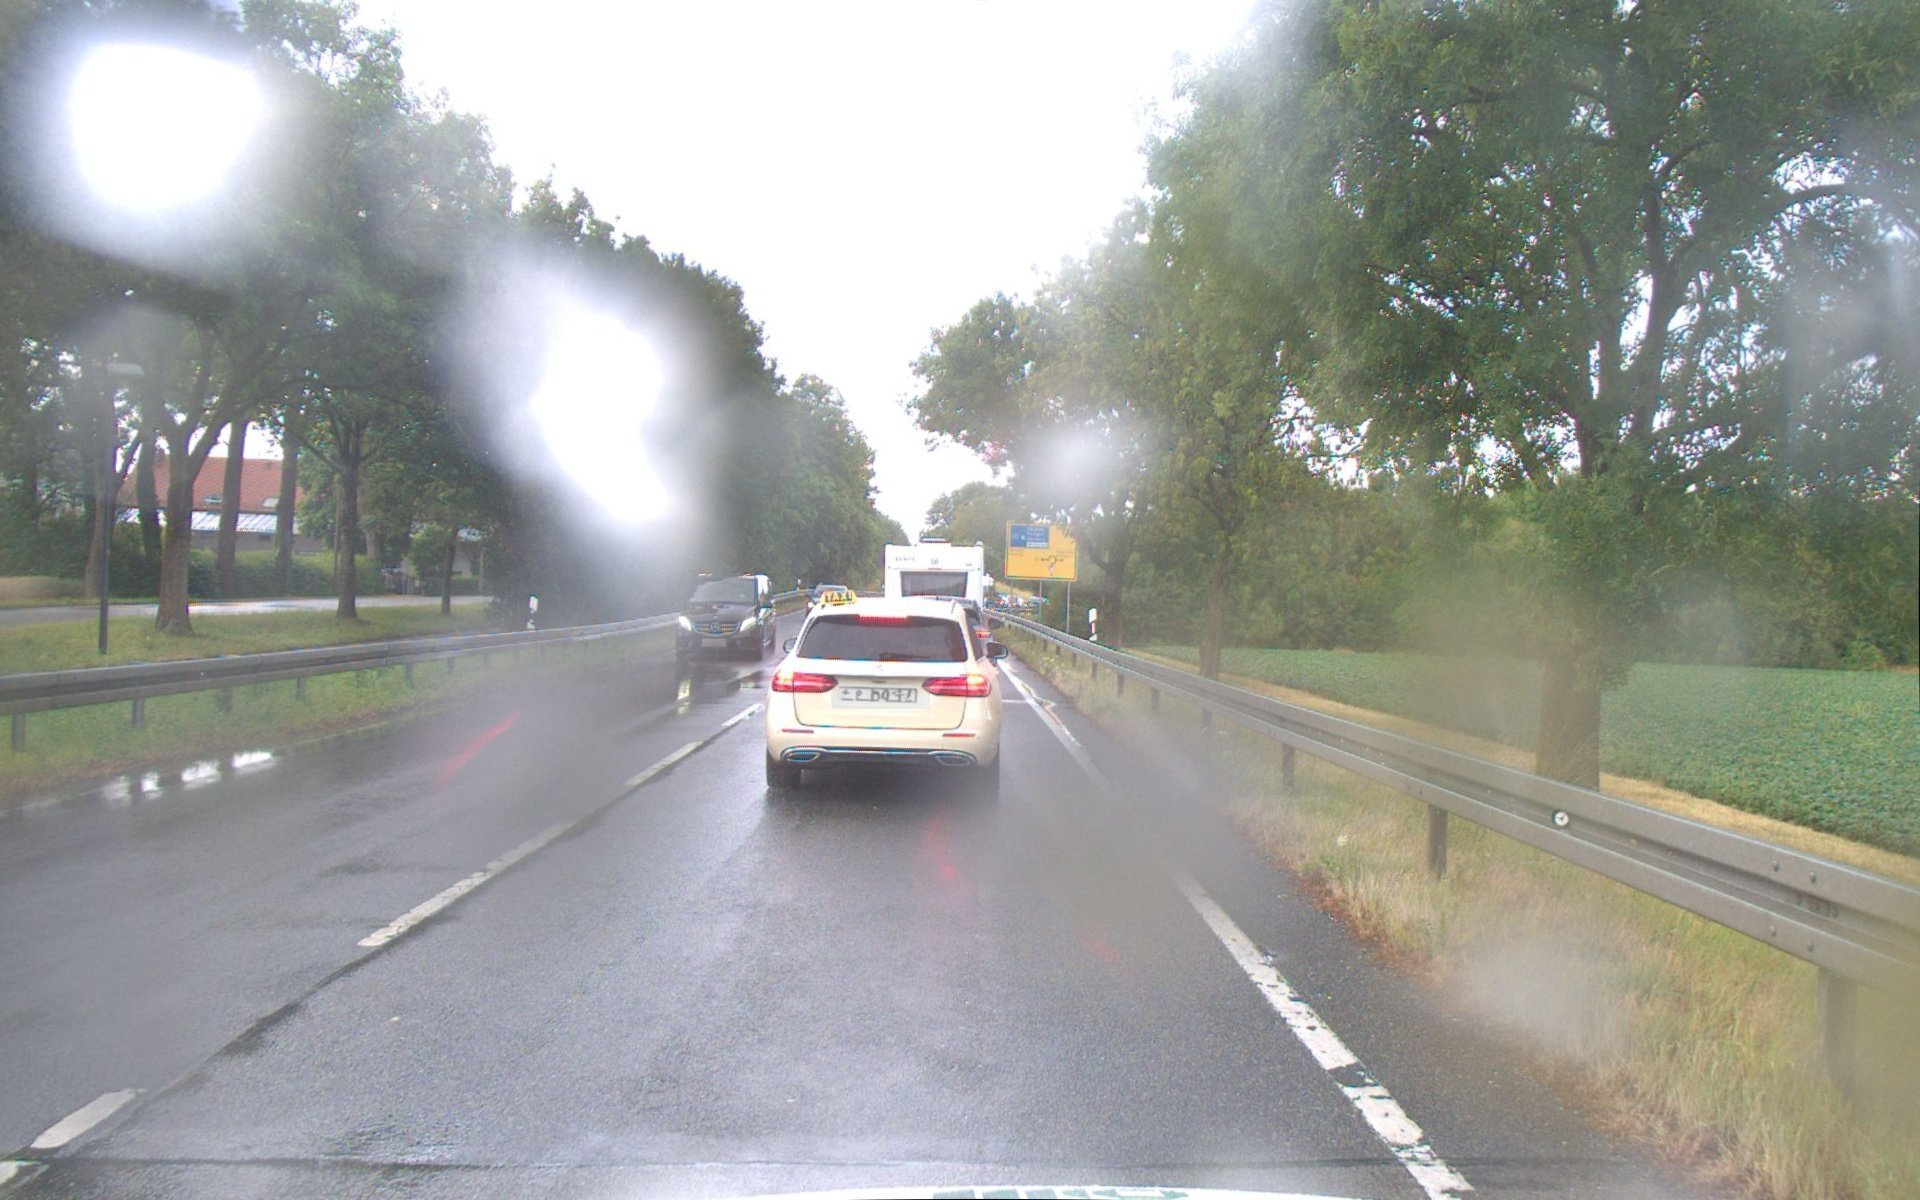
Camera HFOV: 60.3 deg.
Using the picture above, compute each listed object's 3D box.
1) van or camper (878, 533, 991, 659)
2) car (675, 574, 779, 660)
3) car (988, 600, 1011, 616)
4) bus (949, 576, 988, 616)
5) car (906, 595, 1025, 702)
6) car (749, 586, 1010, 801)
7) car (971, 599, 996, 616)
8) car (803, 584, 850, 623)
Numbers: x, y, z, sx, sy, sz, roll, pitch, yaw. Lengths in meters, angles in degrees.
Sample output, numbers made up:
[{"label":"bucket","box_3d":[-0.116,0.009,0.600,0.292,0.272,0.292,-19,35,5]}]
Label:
[{"label":"van or camper","box_3d":[-0.537,-0.103,39.548,2.438,2.732,5.700,1,0,0]},{"label":"car","box_3d":[-5.228,0.351,37.618,1.791,1.834,4.414,0,0,-1]},{"label":"car","box_3d":[2.853,0.572,120.132,1.520,1.138,4.000,1,0,0]},{"label":"bus","box_3d":[0.437,-0.215,86.607,1.953,2.049,3.999,0,0,-1]},{"label":"car","box_3d":[0.095,0.663,24.748,1.630,1.456,4.000,1,0,0]},{"label":"car","box_3d":[-0.549,0.651,13.682,1.826,1.502,4.000,1,0,0]},{"label":"car","box_3d":[1.549,0.494,110.946,1.520,1.138,3.999,1,0,-1]},{"label":"car","box_3d":[-5.322,0.122,66.426,1.595,1.463,3.959,1,0,-1]}]
